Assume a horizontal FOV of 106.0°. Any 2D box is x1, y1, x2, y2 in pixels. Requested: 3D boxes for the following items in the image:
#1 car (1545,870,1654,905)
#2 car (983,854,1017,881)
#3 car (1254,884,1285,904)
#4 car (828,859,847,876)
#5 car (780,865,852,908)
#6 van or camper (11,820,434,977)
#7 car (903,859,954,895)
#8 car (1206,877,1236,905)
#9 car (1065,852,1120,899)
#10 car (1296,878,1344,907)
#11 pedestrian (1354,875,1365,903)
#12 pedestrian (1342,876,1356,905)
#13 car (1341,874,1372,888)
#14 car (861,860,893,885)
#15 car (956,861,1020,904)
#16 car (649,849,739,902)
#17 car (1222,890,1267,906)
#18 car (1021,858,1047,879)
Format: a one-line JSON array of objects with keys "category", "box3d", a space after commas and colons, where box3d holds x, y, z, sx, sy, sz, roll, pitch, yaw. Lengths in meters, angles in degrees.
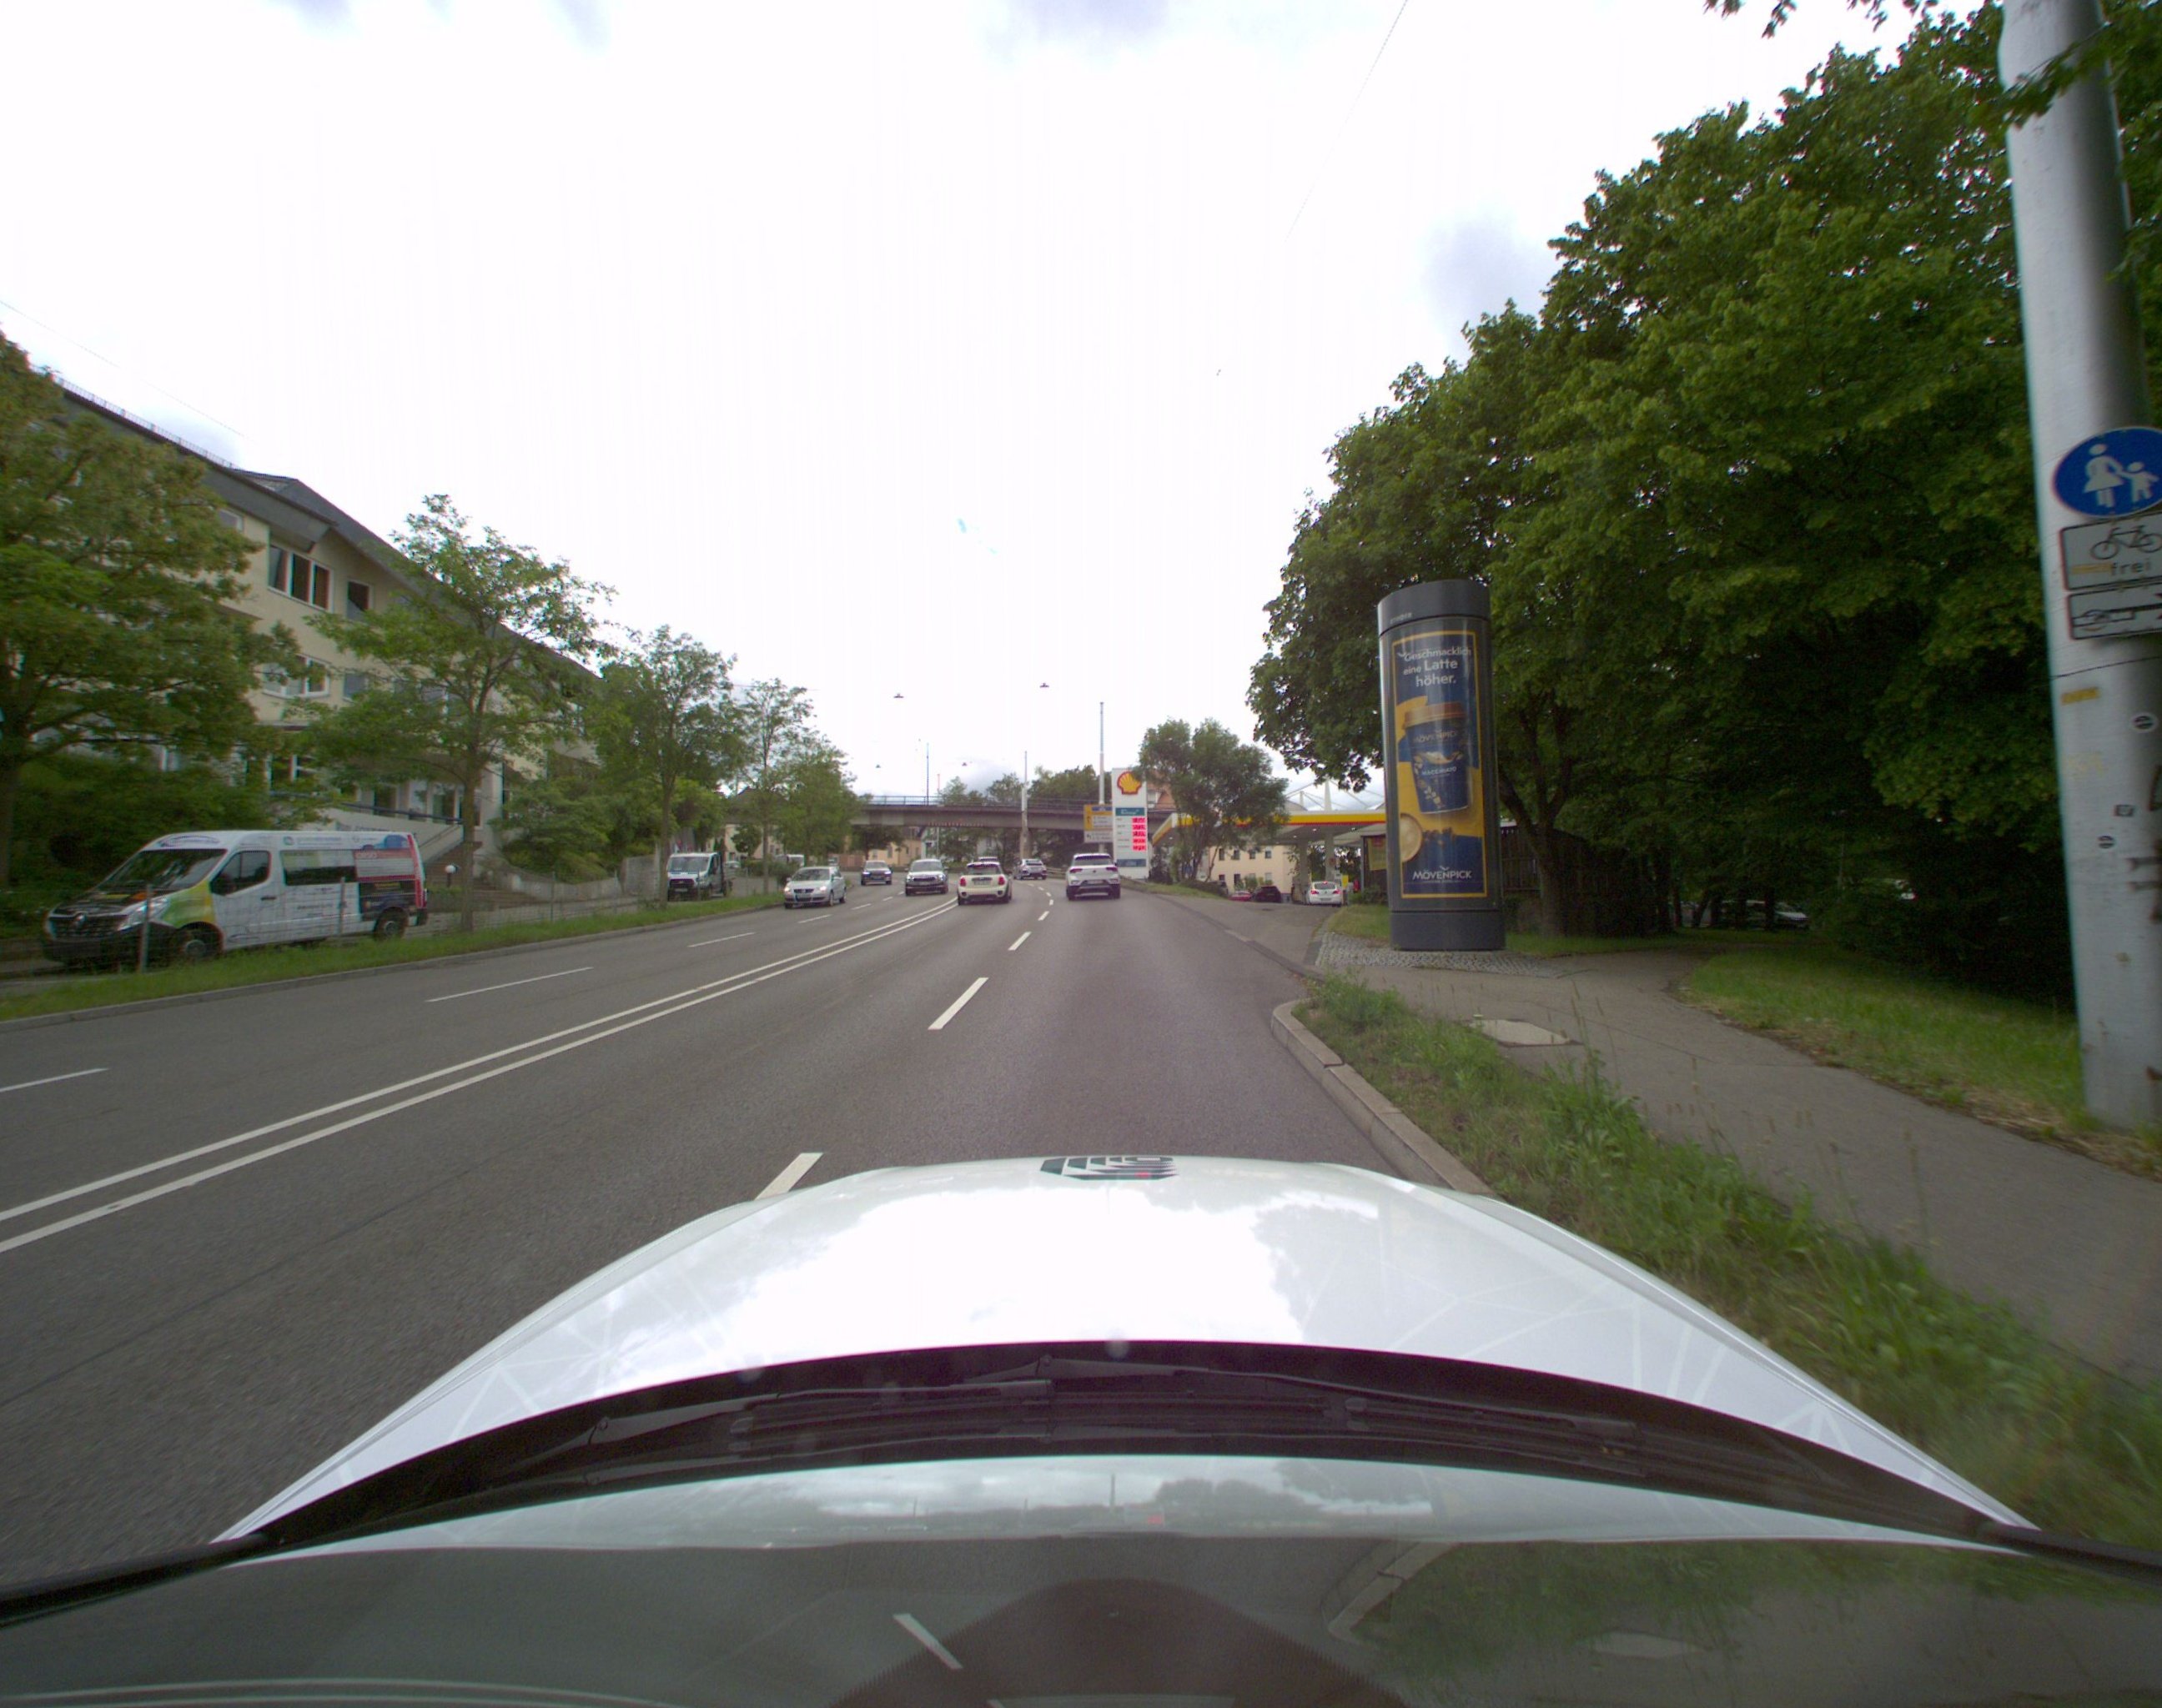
[{"category": "car", "box3d": [24.237, 1.573, 38.255, 4.055, 1.436, 1.733, -4, -3, 25]}, {"category": "car", "box3d": [-5.081, 0.837, 51.418, 1.716, 1.640, 3.458, 0, 0, 2]}, {"category": "car", "box3d": [14.682, 3.143, 63.703, 1.728, 1.486, 3.880, -2, -4, 4]}, {"category": "car", "box3d": [-29.511, 1.618, 98.606, 1.904, 1.937, 3.972, -1, 0, -21]}, {"category": "car", "box3d": [-9.724, 1.142, 30.142, 1.562, 1.431, 3.886, -1, 0, -3]}, {"category": "van or camper", "box3d": [-16.090, 0.740, 15.945, 1.985, 2.473, 5.714, -2, 0, 3]}, {"category": "car", "box3d": [-6.985, 1.029, 37.671, 1.782, 1.538, 4.069, -1, 0, -4]}, {"category": "car", "box3d": [10.780, 2.872, 63.026, 1.728, 2.011, 4.716, -2, -4, 4]}, {"category": "car", "box3d": [0.443, 0.705, 28.331, 1.790, 1.519, 3.458, 0, 0, 2]}, {"category": "car", "box3d": [13.264, 2.188, 45.460, 1.728, 1.486, 3.880, -2, -4, 4]}, {"category": "pedestrian", "box3d": [17.080, 2.157, 50.005, 0.491, 1.704, 0.431, -1, -1, -7]}, {"category": "pedestrian", "box3d": [16.262, 2.225, 49.413, 0.541, 1.704, 0.609, -1, -1, -4]}, {"category": "car", "box3d": [30.432, 2.981, 89.889, 3.602, 1.349, 1.584, 6, -5, -38]}, {"category": "car", "box3d": [-13.557, 1.206, 54.317, 1.786, 1.575, 4.449, -2, 0, -12]}, {"category": "car", "box3d": [-3.176, 0.934, 28.321, 1.716, 1.376, 3.458, 0, 0, 2]}, {"category": "car", "box3d": [-18.197, 0.969, 38.659, 2.268, 2.273, 6.303, -2, -1, -11]}, {"category": "car", "box3d": [17.141, 4.598, 85.501, 4.249, 1.522, 1.634, 1, -3, 29]}, {"category": "car", "box3d": [-3.257, 0.958, 55.955, 1.673, 1.409, 3.450, 0, 0, -5]}]
